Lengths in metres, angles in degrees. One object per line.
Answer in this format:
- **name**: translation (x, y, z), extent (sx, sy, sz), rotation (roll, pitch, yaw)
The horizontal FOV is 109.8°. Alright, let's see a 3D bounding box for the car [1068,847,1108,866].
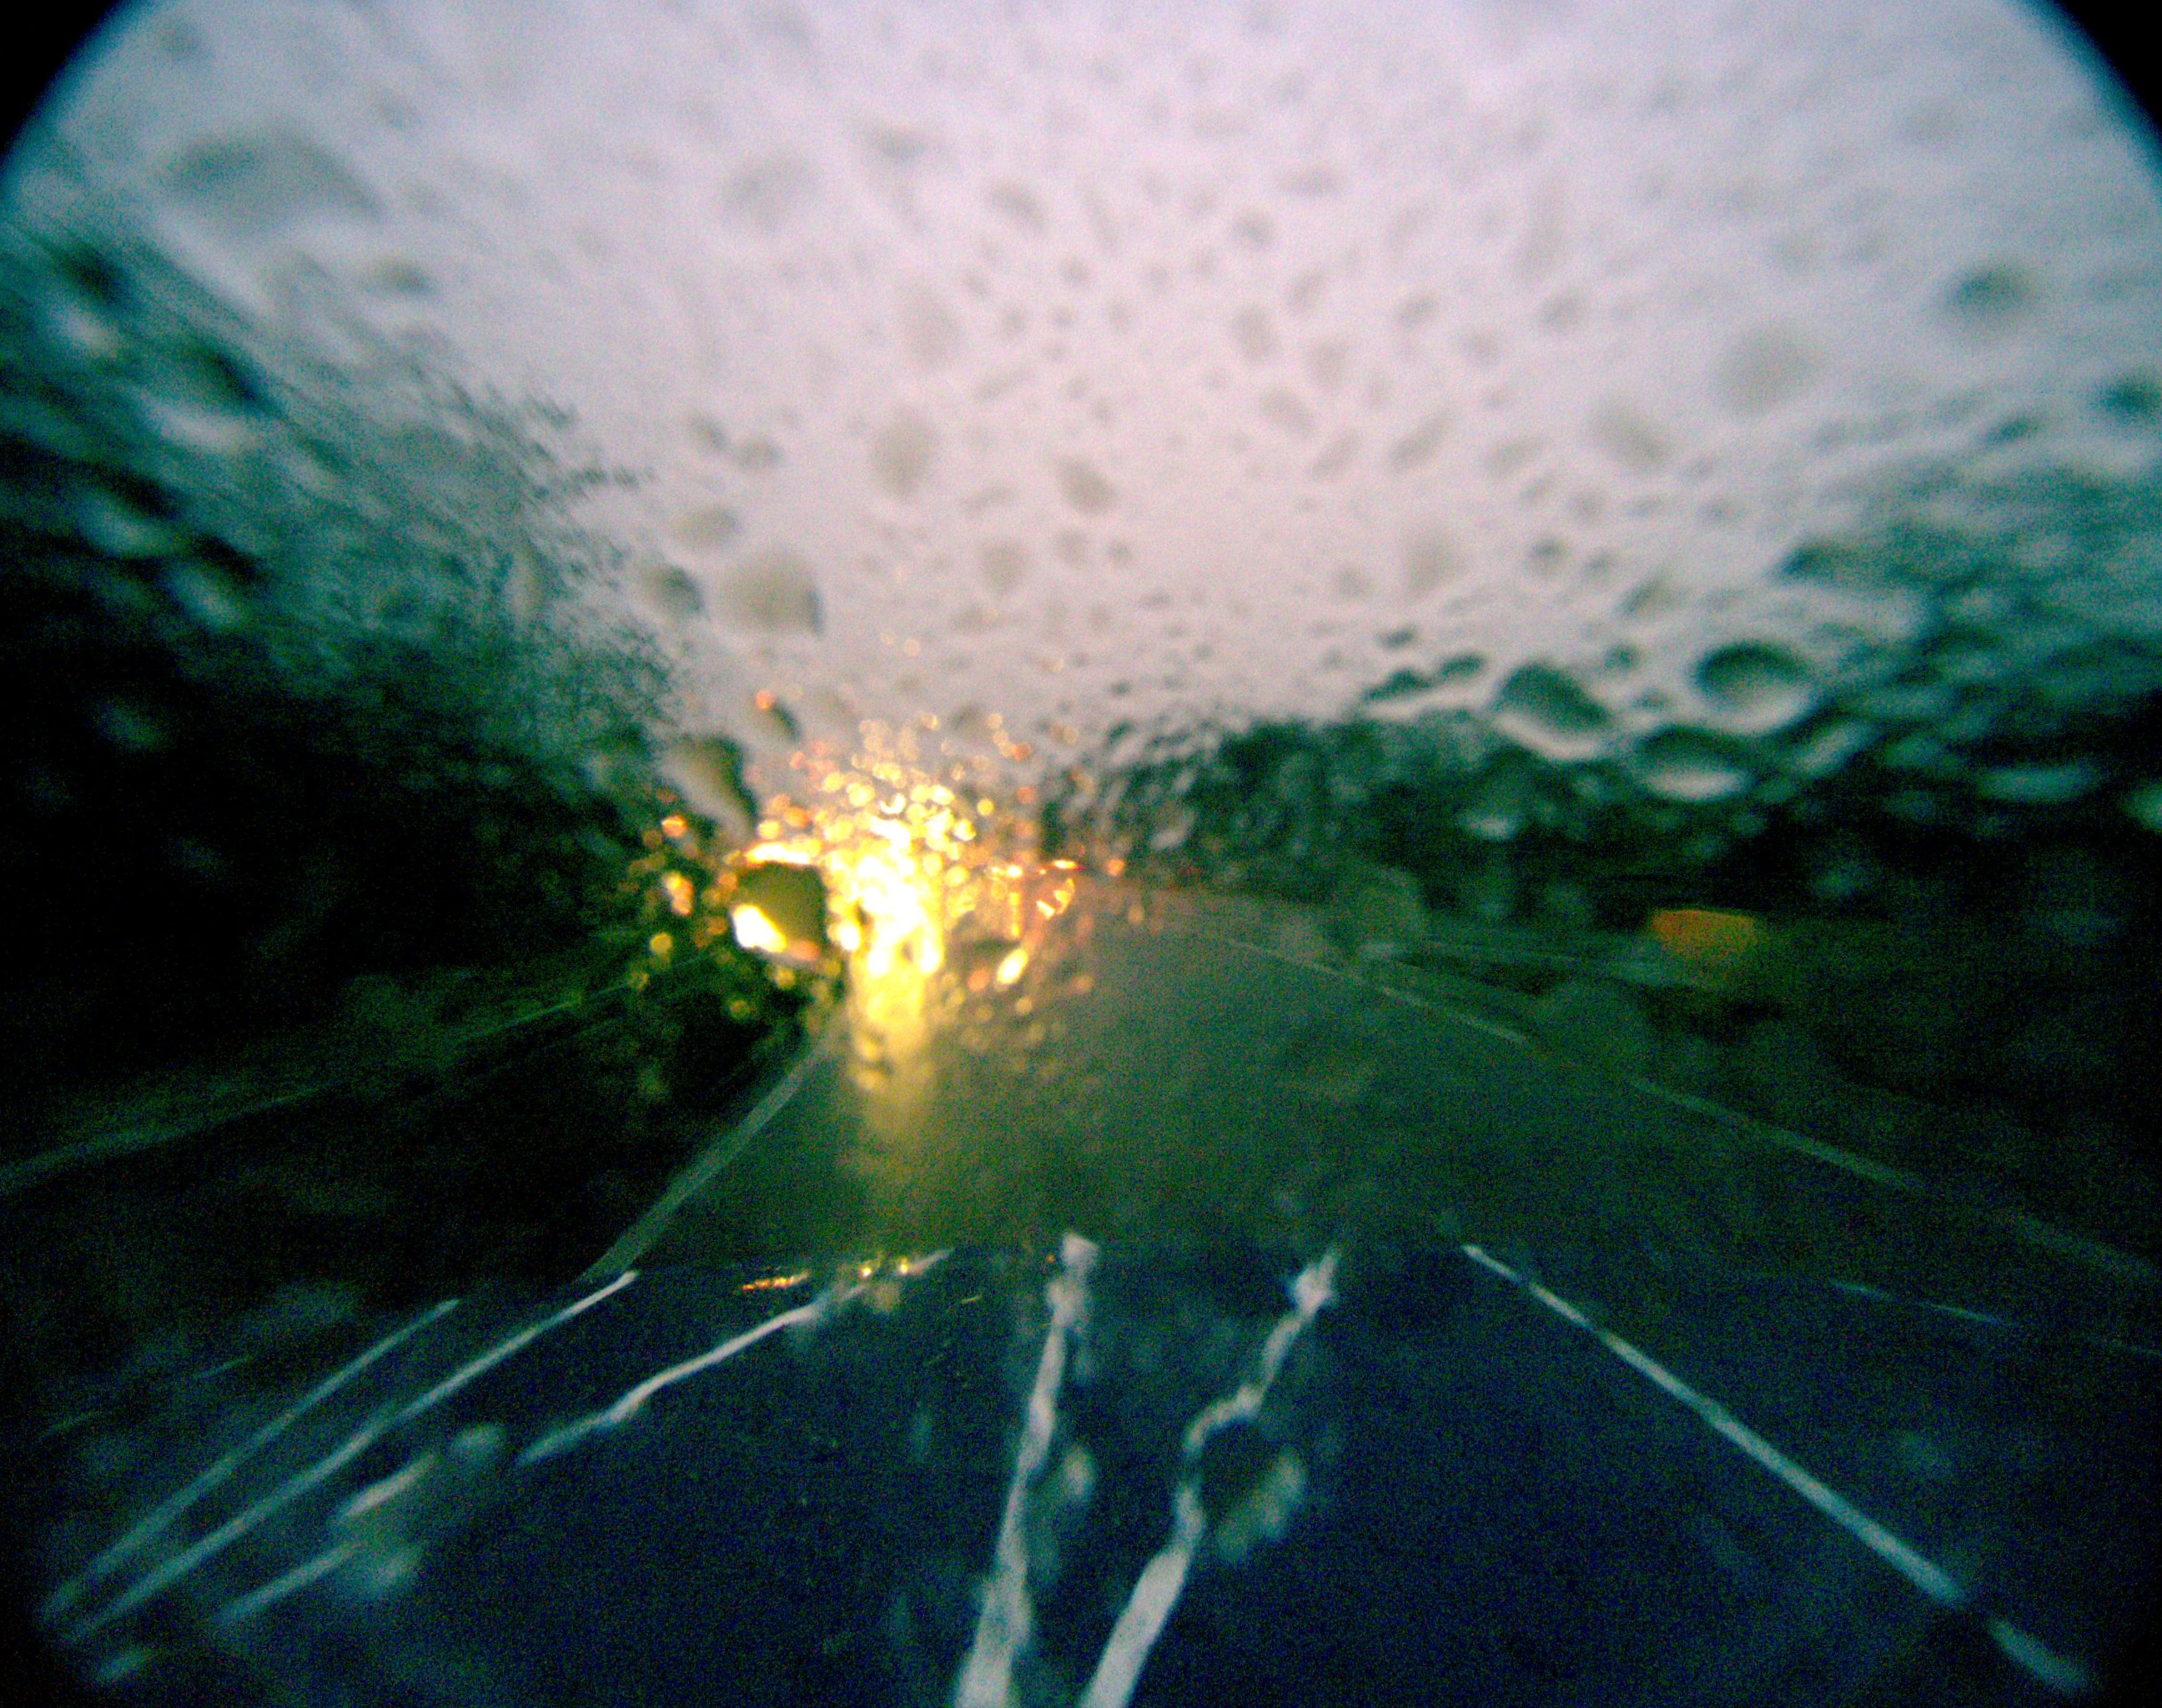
- **car**: translation (0.552, 0.184, 65.699), extent (1.762, 1.560, 4.389), rotation (-2, 1, -25)

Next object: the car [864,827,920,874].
- **car**: translation (-8.861, -0.139, 35.404), extent (2.002, 2.002, 3.956), rotation (2, 0, -21)

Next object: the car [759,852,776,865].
- **car**: translation (-44.583, 0.663, 108.002), extent (1.823, 1.739, 3.991), rotation (-1, 0, -27)

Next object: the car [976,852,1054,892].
- **car**: translation (-2.752, 0.683, 30.841), extent (1.658, 1.502, 3.865), rotation (-1, 1, -31)

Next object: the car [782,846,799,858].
- **car**: translation (-32.060, -0.227, 83.768), extent (1.485, 1.198, 3.342), rotation (-1, 0, -25)

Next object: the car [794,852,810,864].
- **car**: translation (-40.938, 0.571, 111.524), extent (1.694, 1.642, 3.991), rotation (-1, 0, -27)

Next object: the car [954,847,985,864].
- **car**: translation (-10.744, 0.091, 72.913), extent (1.762, 1.560, 4.667), rotation (-1, 1, -24)

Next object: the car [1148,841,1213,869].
- **car**: translation (5.915, 0.022, 45.624), extent (1.762, 1.561, 4.183), rotation (-2, 1, -29)
